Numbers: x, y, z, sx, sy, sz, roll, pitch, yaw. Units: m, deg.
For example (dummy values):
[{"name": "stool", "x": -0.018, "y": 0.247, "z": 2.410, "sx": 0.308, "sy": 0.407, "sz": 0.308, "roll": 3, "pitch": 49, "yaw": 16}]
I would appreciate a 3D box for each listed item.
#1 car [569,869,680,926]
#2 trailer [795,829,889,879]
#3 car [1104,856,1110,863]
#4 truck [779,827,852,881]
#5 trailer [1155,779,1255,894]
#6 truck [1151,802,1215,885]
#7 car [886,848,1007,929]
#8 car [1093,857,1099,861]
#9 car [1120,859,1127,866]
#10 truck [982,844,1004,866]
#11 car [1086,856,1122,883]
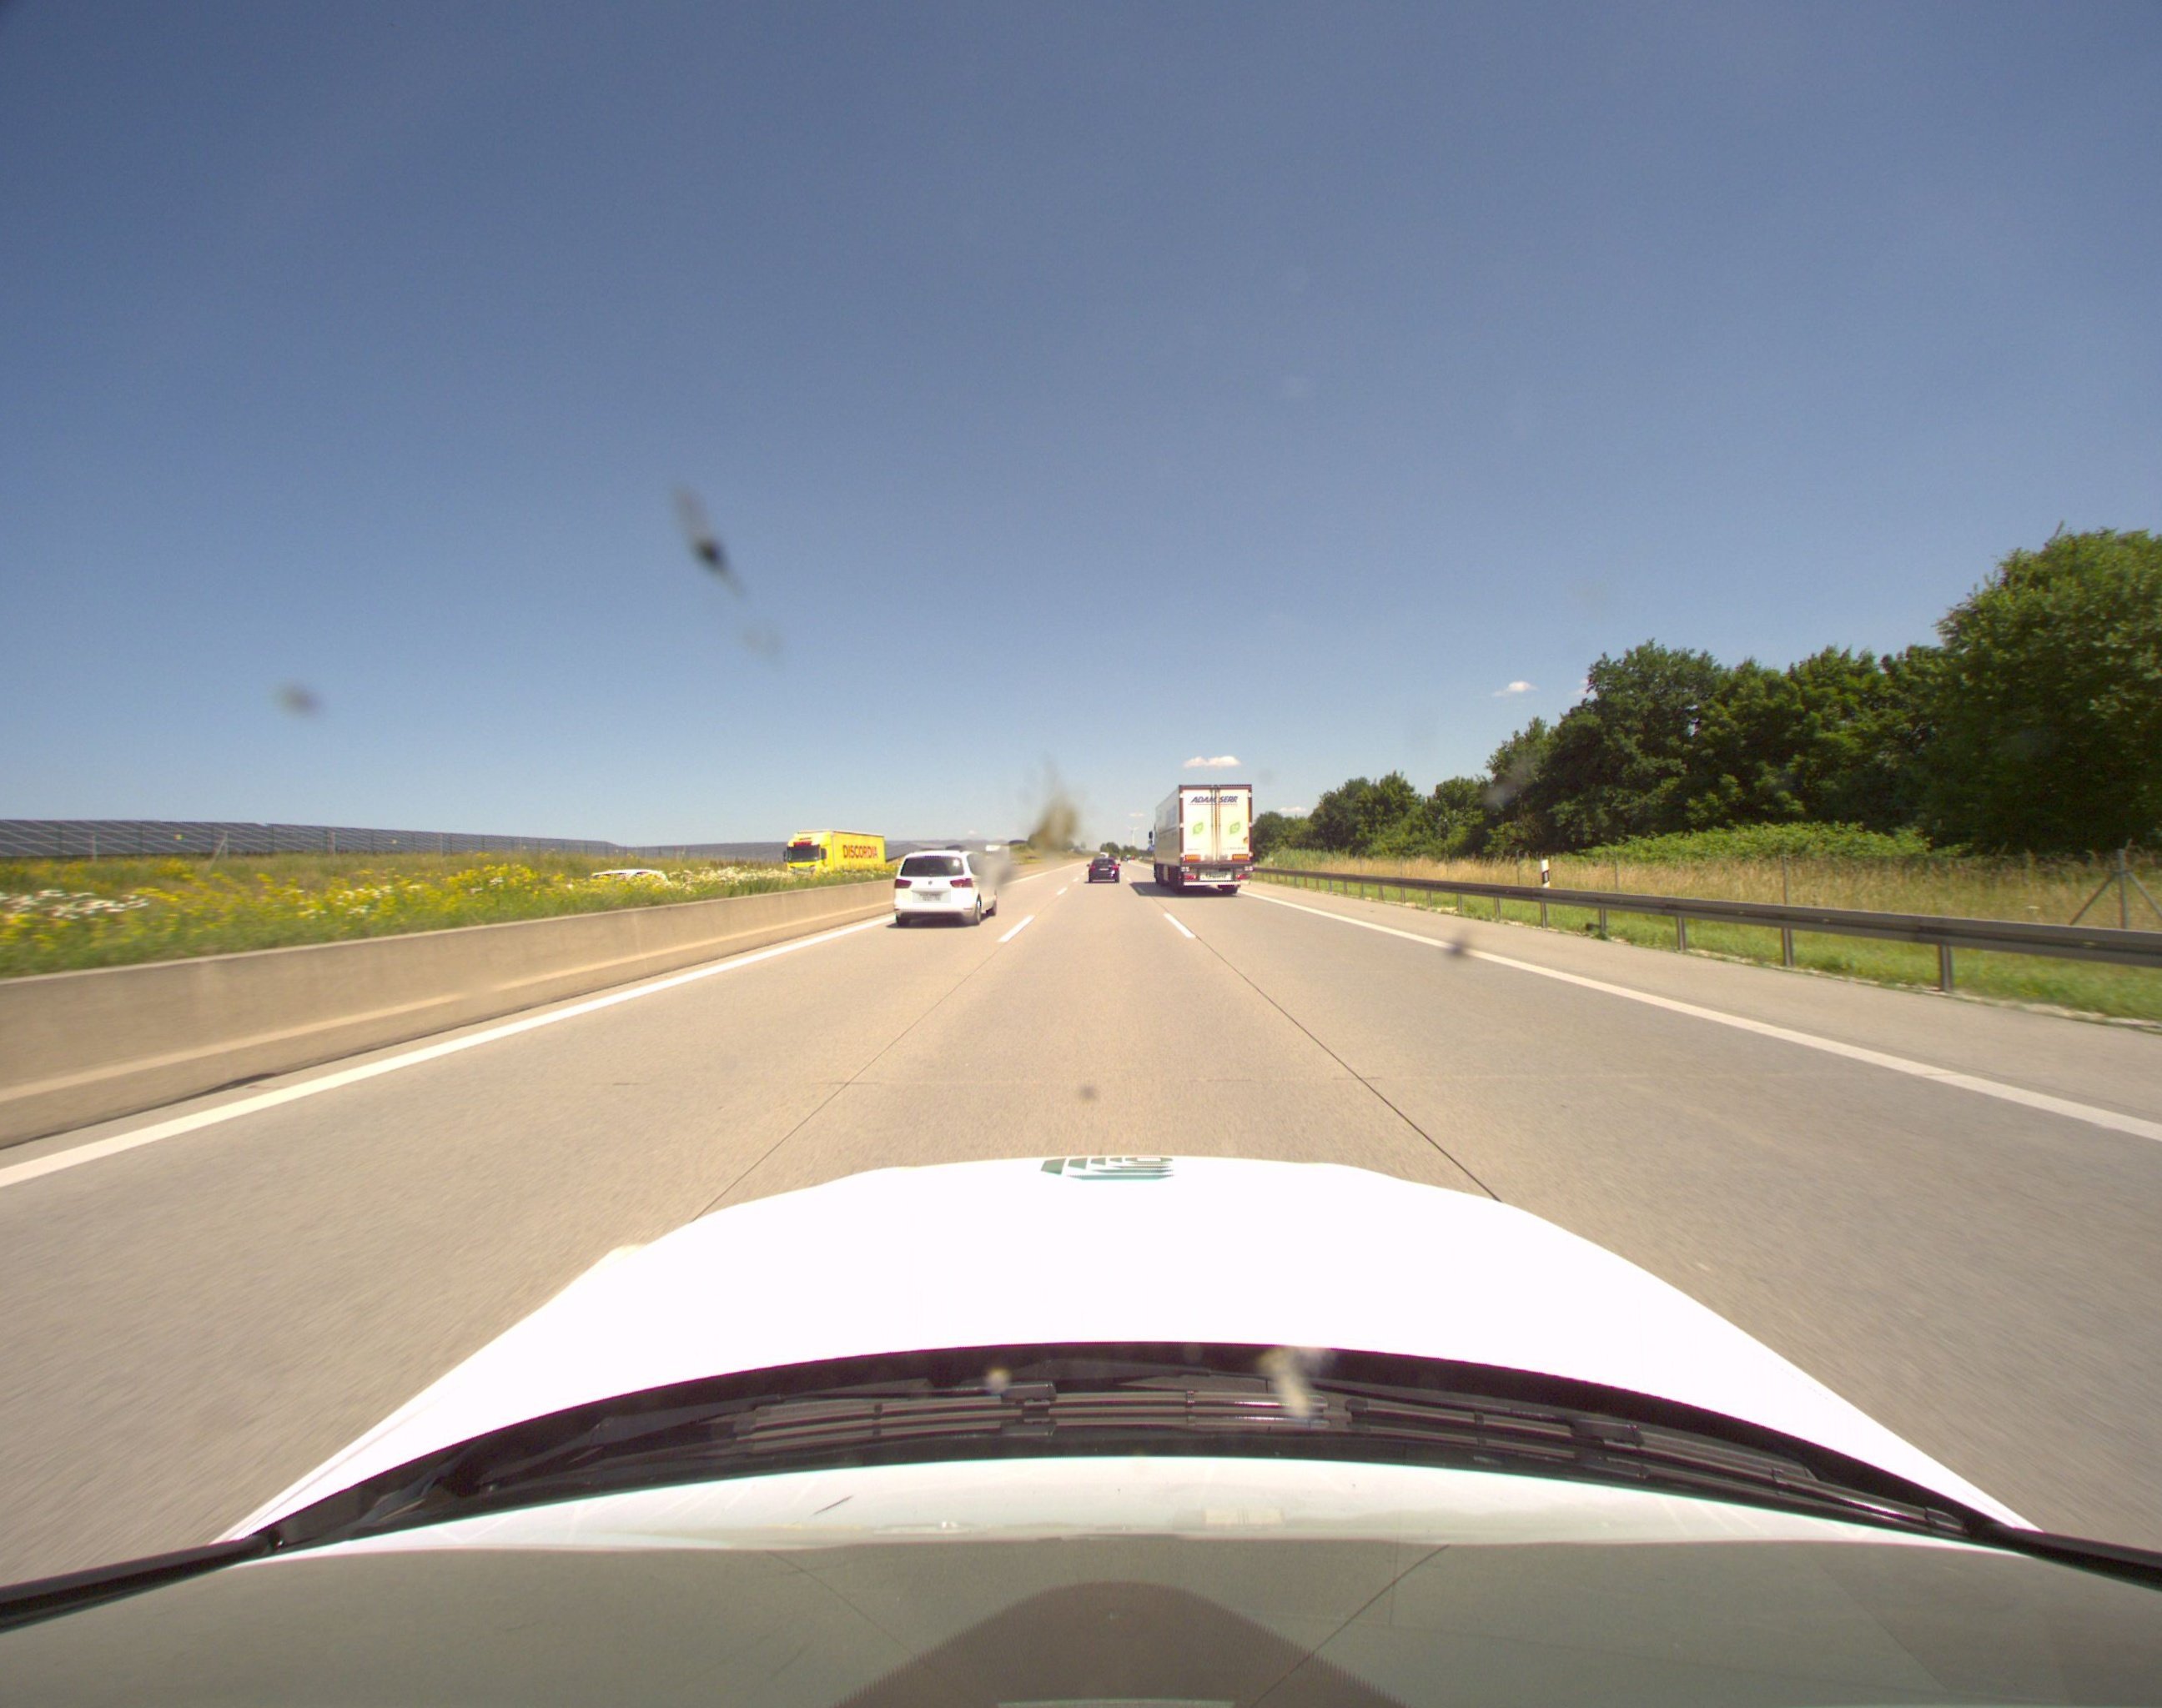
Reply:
[{"name": "car", "x": -12.895, "y": 1.185, "z": 23.188, "sx": 1.400, "sy": 1.483, "sz": 2.967, "roll": 0, "pitch": -1, "yaw": 2}, {"name": "trailer", "x": -18.670, "y": 0.075, "z": 65.010, "sx": 2.920, "sy": 3.551, "sz": 14.025, "roll": 0, "pitch": -1, "yaw": 2}, {"name": "car", "x": 7.957, "y": 1.707, "z": 246.682, "sx": 1.820, "sy": 1.937, "sz": 3.810, "roll": -1, "pitch": -1, "yaw": 2}, {"name": "truck", "x": -18.906, "y": 0.036, "z": 58.427, "sx": 2.912, "sy": 3.540, "sz": 6.350, "roll": -2, "pitch": -1, "yaw": 2}, {"name": "trailer", "x": 4.972, "y": -0.587, "z": 35.200, "sx": 2.841, "sy": 4.042, "sz": 12.719, "roll": 0, "pitch": 0, "yaw": 2}, {"name": "truck", "x": 5.245, "y": -0.505, "z": 42.932, "sx": 2.802, "sy": 4.088, "sz": 5.800, "roll": 0, "pitch": 0, "yaw": 2}, {"name": "car", "x": -3.123, "y": 0.762, "z": 20.283, "sx": 1.838, "sy": 1.708, "sz": 6.038, "roll": 0, "pitch": -1, "yaw": 2}, {"name": "car", "x": 4.458, "y": 1.481, "z": 234.775, "sx": 1.649, "sy": 1.196, "sz": 3.961, "roll": 2, "pitch": 0, "yaw": 2}, {"name": "car", "x": 11.563, "y": 2.310, "z": 219.635, "sx": 1.820, "sy": 1.907, "sz": 4.003, "roll": 0, "pitch": -1, "yaw": 3}, {"name": "truck", "x": -16.245, "y": 0.189, "z": 151.485, "sx": 3.079, "sy": 4.004, "sz": 7.256, "roll": 0, "pitch": -1, "yaw": 1}, {"name": "car", "x": 1.290, "y": 0.843, "z": 47.273, "sx": 1.904, "sy": 1.492, "sz": 4.190, "roll": 0, "pitch": 0, "yaw": -1}]
